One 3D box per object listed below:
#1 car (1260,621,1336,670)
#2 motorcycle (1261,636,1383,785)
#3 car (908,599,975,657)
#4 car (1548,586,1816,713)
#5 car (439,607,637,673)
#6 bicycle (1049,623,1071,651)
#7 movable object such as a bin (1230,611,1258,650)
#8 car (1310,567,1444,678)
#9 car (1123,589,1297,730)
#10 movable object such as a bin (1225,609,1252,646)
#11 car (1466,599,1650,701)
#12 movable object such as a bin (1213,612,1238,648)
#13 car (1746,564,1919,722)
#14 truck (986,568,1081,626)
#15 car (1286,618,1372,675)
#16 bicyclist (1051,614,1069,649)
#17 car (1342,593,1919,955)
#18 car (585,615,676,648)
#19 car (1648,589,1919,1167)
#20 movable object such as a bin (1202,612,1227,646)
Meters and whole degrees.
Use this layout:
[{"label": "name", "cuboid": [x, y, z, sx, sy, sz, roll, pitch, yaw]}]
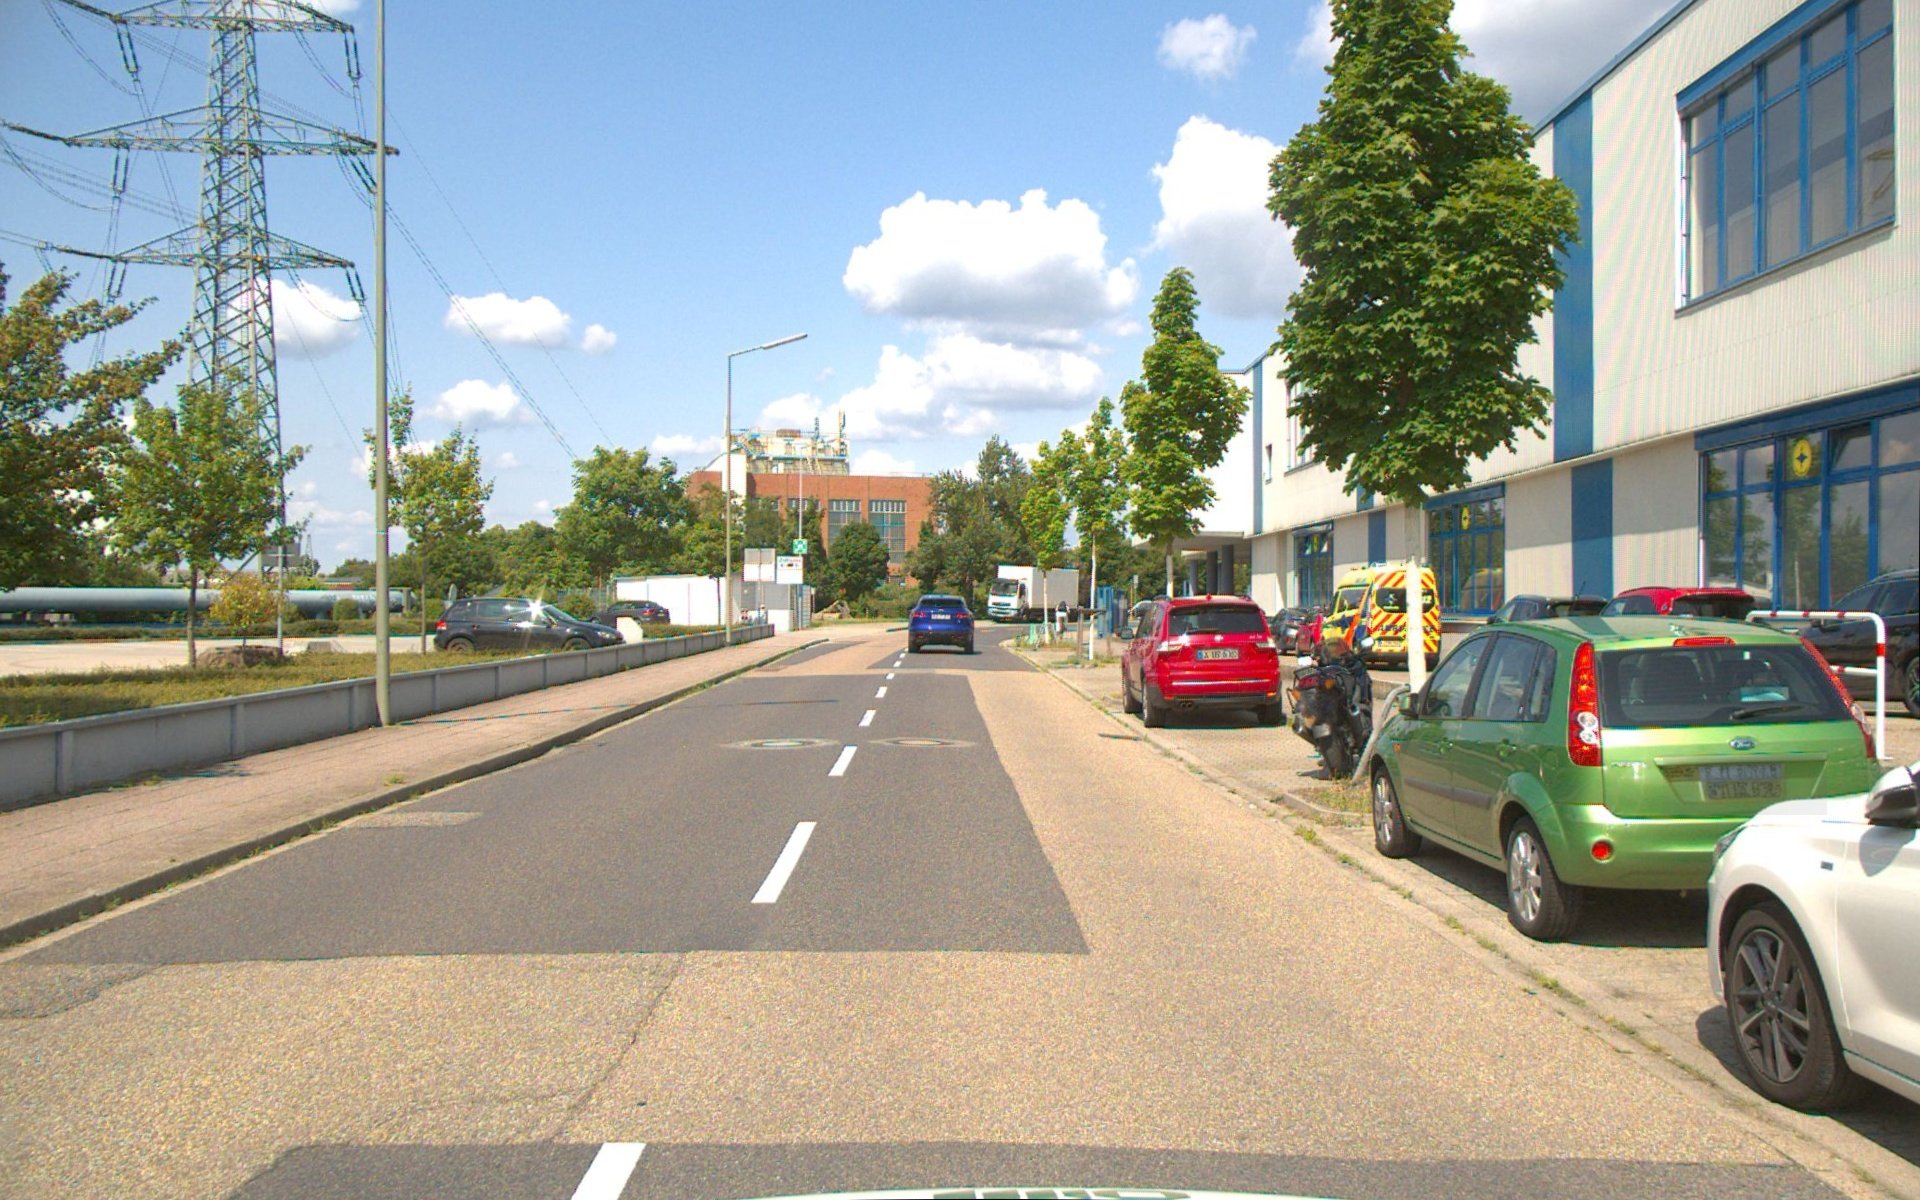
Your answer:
[{"label": "car", "cuboid": [10.308, 1.377, 50.664, 1.465, 1.428, 3.853, 1, -1, -1]}, {"label": "motorcycle", "cuboid": [3.382, 0.967, 15.305, 0.838, 1.221, 2.364, 0, 0, 19]}, {"label": "car", "cuboid": [-0.583, 0.810, 48.917, 1.871, 1.621, 4.699, 1, -1, -1]}, {"label": "car", "cuboid": [10.299, 0.715, 23.987, 1.953, 1.686, 4.288, 0, -2, -1]}, {"label": "car", "cuboid": [-9.271, 0.865, 36.555, 3.906, 1.400, 1.803, 0, 0, -1]}, {"label": "bicycle", "cuboid": [4.172, 1.546, 68.940, 0.652, 1.128, 2.169, 0, 0, 10]}, {"label": "movable object such as a bin", "cuboid": [10.951, 1.171, 63.788, 0.788, 1.438, 1.357, 1, -1, -2]}, {"label": "car", "cuboid": [10.104, 0.554, 40.464, 1.885, 2.507, 5.258, 1, -1, -1]}, {"label": "car", "cuboid": [3.308, 0.766, 22.726, 1.719, 1.679, 4.677, -2, -1, 1]}, {"label": "movable object such as a bin", "cuboid": [10.997, 1.081, 65.258, 0.788, 1.438, 1.357, 1, -1, -2]}, {"label": "car", "cuboid": [10.422, 0.863, 29.160, 1.679, 1.681, 4.213, 0, -1, -1]}, {"label": "movable object such as a bin", "cuboid": [10.868, 1.235, 67.769, 0.788, 1.438, 1.174, 1, -1, -3]}, {"label": "car", "cuboid": [10.211, 0.475, 17.217, 1.790, 1.539, 4.639, 0, -3, -1]}, {"label": "truck", "cuboid": [4.960, -0.241, 109.047, 2.277, 3.630, 9.350, 2, 1, 29]}, {"label": "car", "cuboid": [10.353, 1.292, 46.614, 1.540, 1.517, 3.815, 1, -1, -1]}, {"label": "bicyclist", "cuboid": [4.173, 1.318, 69.127, 0.649, 1.422, 0.859, 0, -1, 11]}, {"label": "car", "cuboid": [3.421, 0.779, 9.155, 1.634, 1.547, 3.994, 1, -1, -1]}, {"label": "car", "cuboid": [-14.802, 1.398, 74.321, 3.917, 1.402, 1.798, 0, 0, 34]}, {"label": "car", "cuboid": [3.488, 0.747, 3.893, 1.798, 1.547, 4.459, 1, -1, -1]}, {"label": "movable object such as a bin", "cuboid": [10.938, 1.235, 71.097, 0.788, 1.438, 1.404, 1, -1, -3]}]
